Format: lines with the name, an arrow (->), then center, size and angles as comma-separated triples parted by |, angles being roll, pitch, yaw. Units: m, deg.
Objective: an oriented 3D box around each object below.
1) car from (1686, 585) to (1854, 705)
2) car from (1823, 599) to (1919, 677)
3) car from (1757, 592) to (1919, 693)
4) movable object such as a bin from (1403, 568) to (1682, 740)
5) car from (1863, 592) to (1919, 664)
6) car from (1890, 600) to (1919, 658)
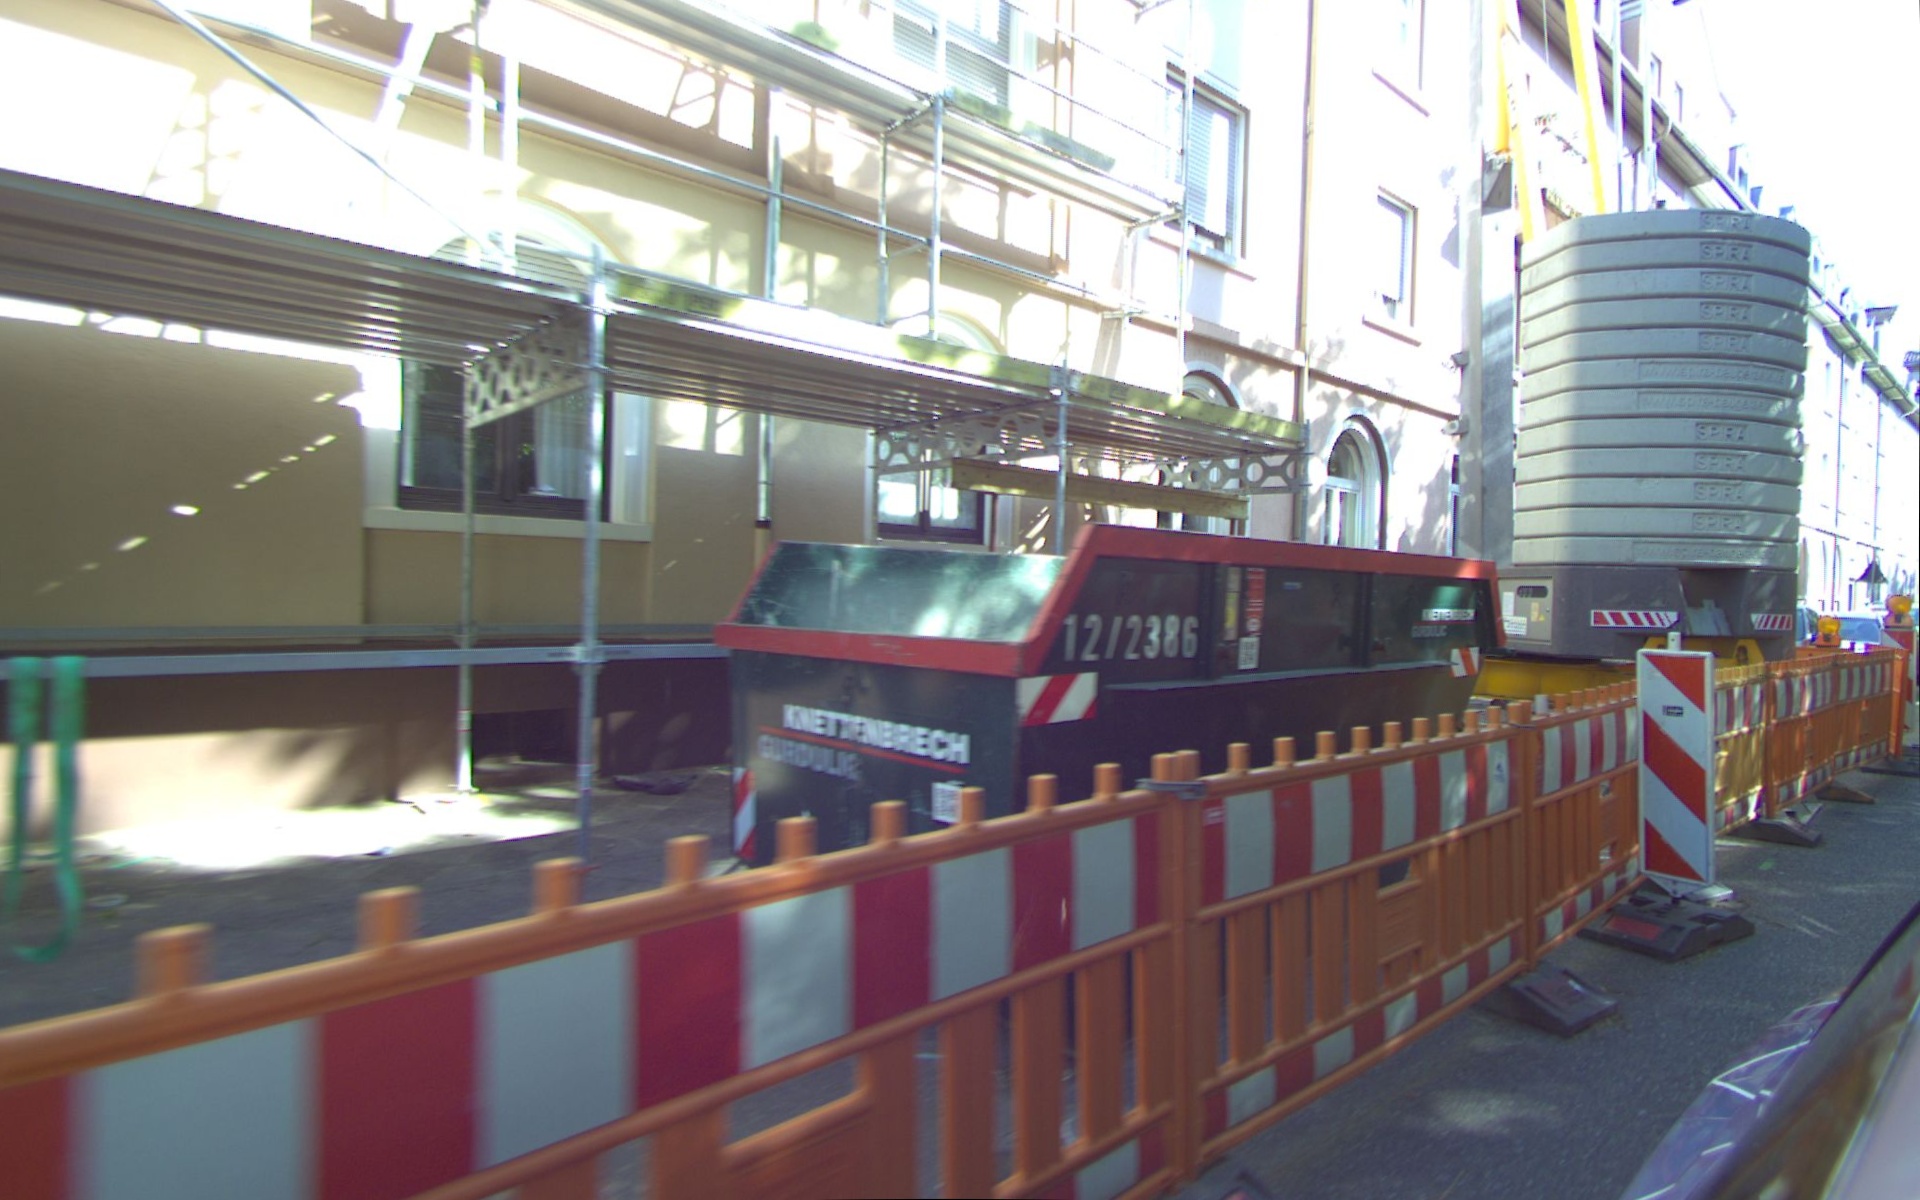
car -> 12.267, 0.616, 15.289 | 2.918, 1.577, 1.489 | 1, 2, -42
car -> 19.560, 0.743, 21.388 | 1.668, 1.445, 3.908 | 3, 2, 45
car -> 15.455, 0.669, 17.609 | 4.171, 1.482, 1.764 | 1, 2, -42
movable object such as a bin -> 5.805, 0.482, 10.295 | 1.595, 1.545, 1.880 | 2, 1, -6
car -> 23.338, 0.665, 24.533 | 4.200, 1.619, 1.669 | 1, 2, -42
car -> 27.433, 0.828, 28.357 | 3.545, 1.531, 1.669 | 1, 2, -42
